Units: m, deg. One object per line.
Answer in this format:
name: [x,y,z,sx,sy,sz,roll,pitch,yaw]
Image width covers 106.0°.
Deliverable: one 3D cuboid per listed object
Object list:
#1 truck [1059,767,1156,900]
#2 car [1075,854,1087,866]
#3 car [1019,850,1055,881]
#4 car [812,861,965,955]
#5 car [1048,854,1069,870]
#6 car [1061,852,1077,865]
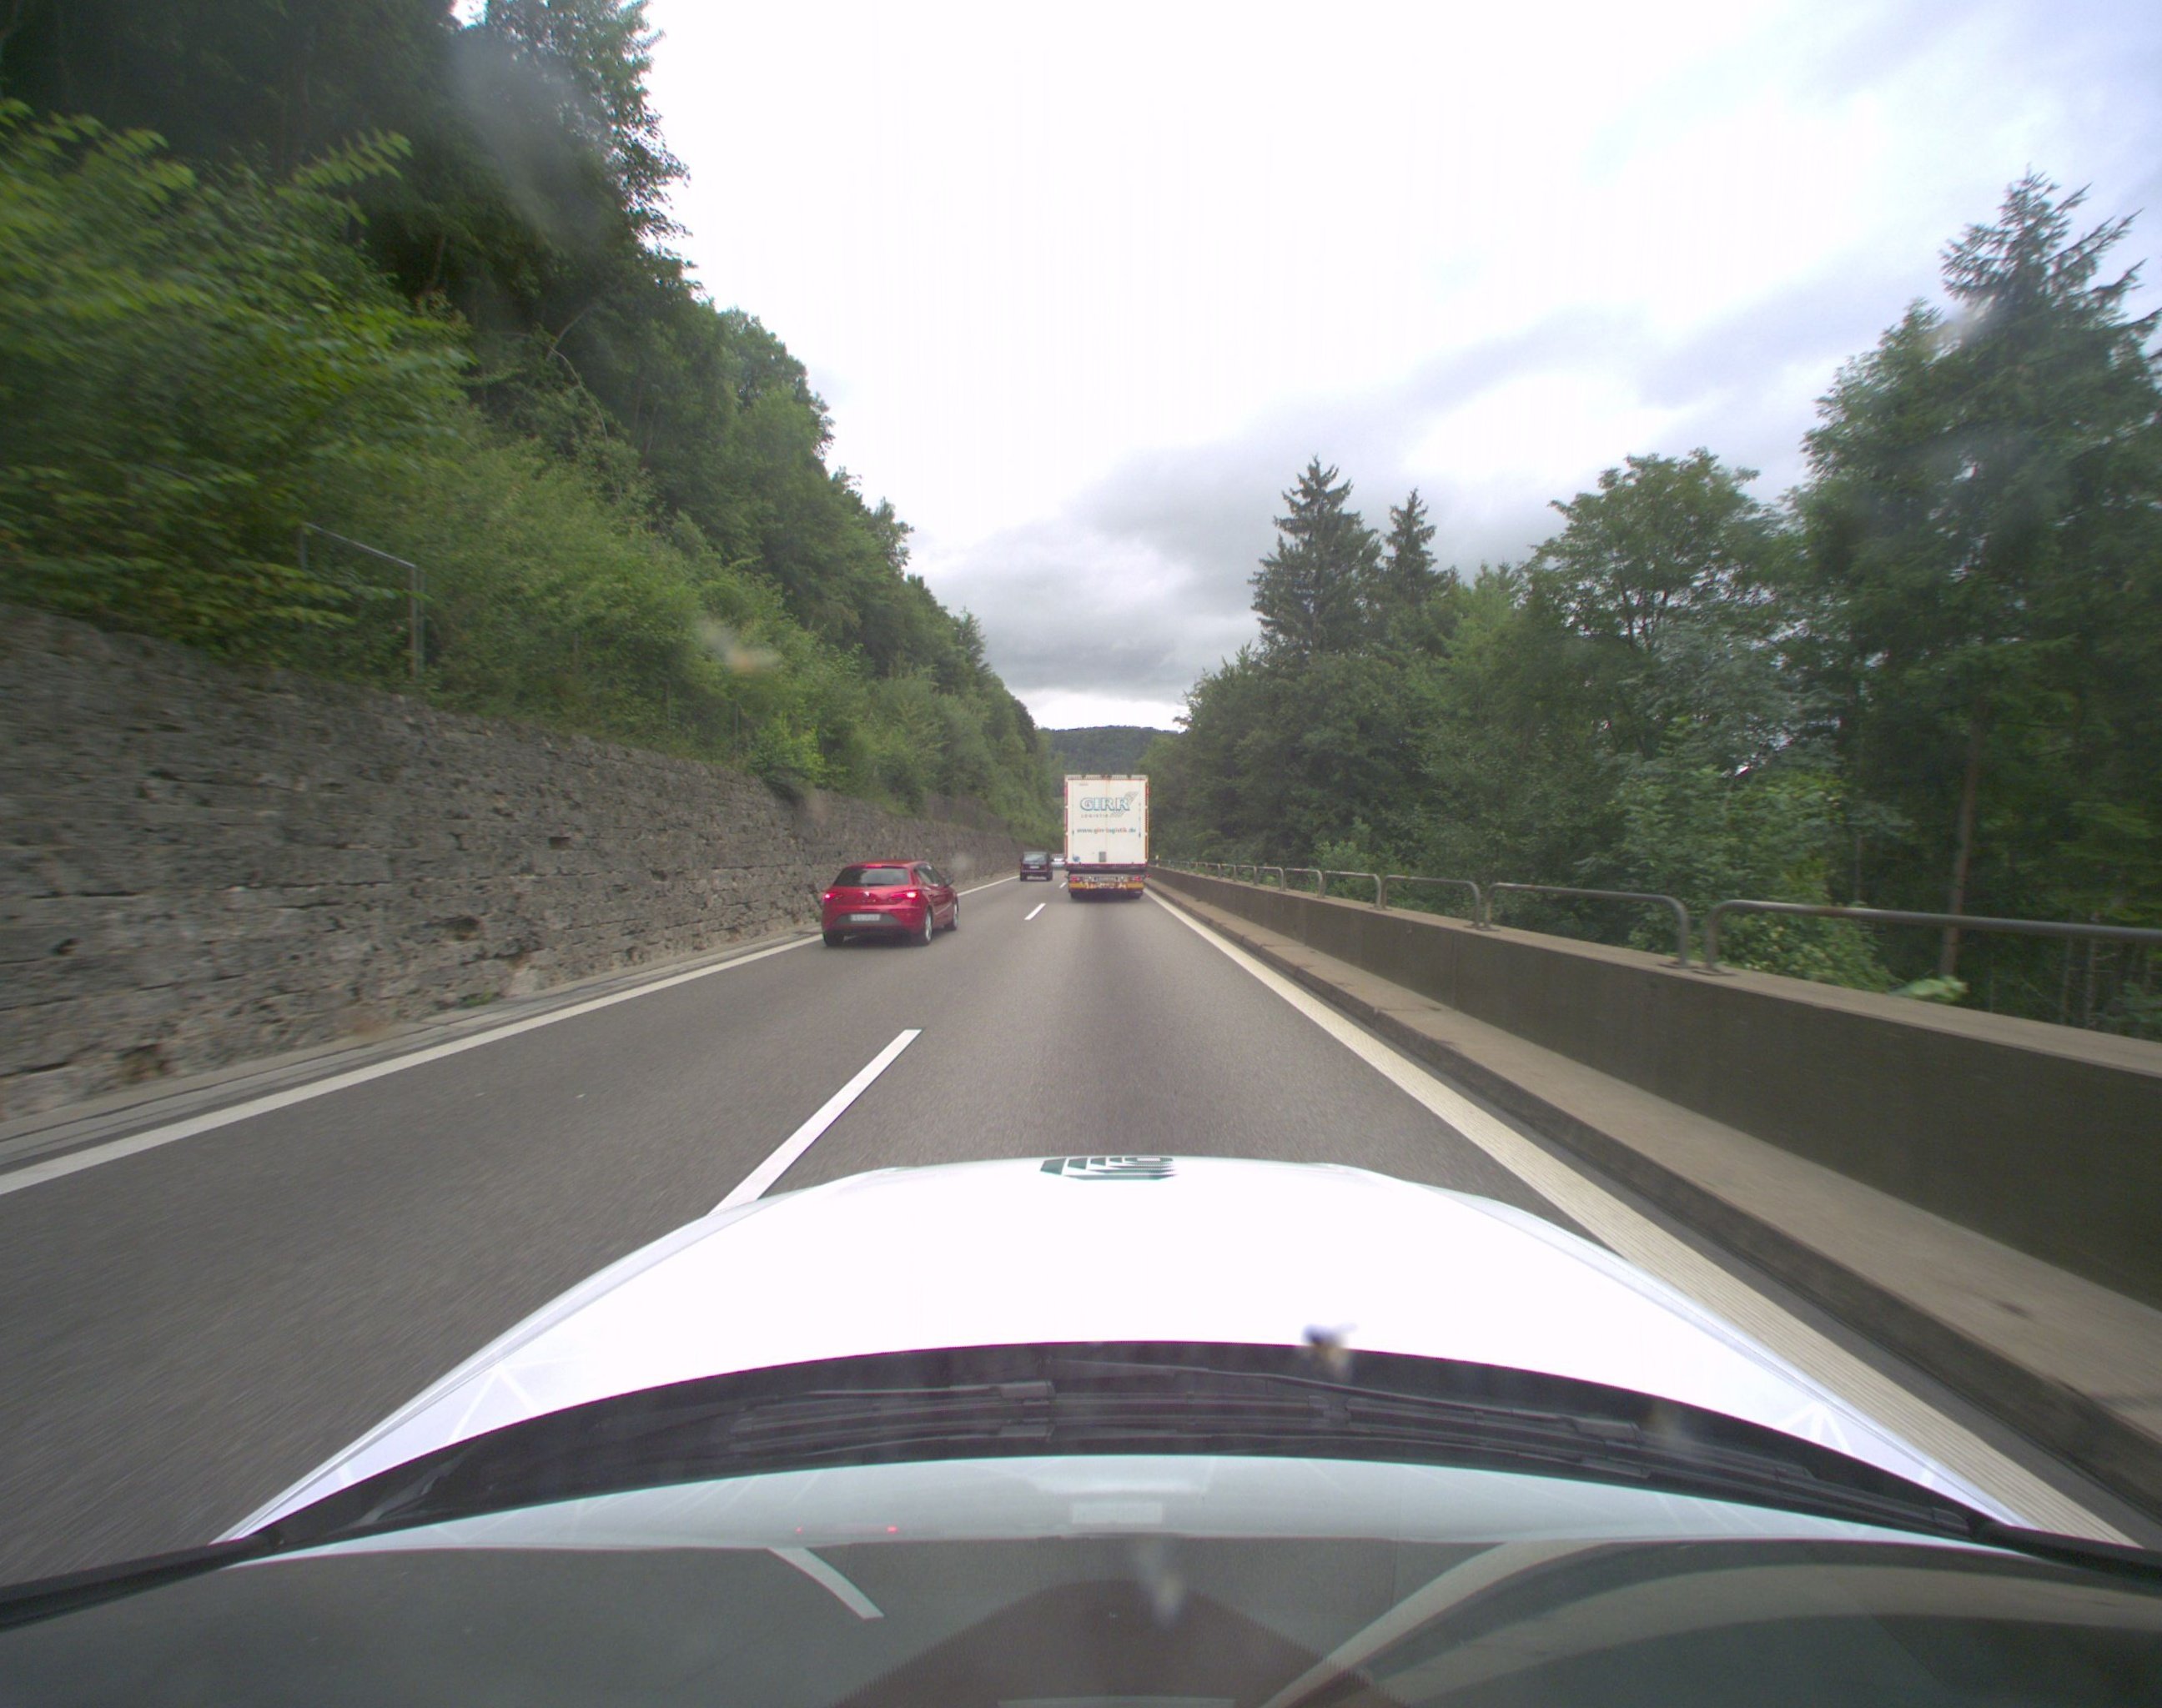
truck: [0.953,-0.589,29.085,2.898,3.960,9.282,0,0,2]
car: [-0.017,1.100,144.075,1.985,2.014,4.002,0,-1,2]
car: [-2.427,0.622,45.820,1.663,1.639,4.069,-1,-1,1]
car: [-3.334,0.866,14.987,1.760,1.460,4.410,-1,-1,0]
car: [-2.115,0.770,76.804,1.723,1.486,4.000,-1,-1,1]
car: [-1.465,0.577,102.859,1.910,1.595,4.179,-1,-1,1]
